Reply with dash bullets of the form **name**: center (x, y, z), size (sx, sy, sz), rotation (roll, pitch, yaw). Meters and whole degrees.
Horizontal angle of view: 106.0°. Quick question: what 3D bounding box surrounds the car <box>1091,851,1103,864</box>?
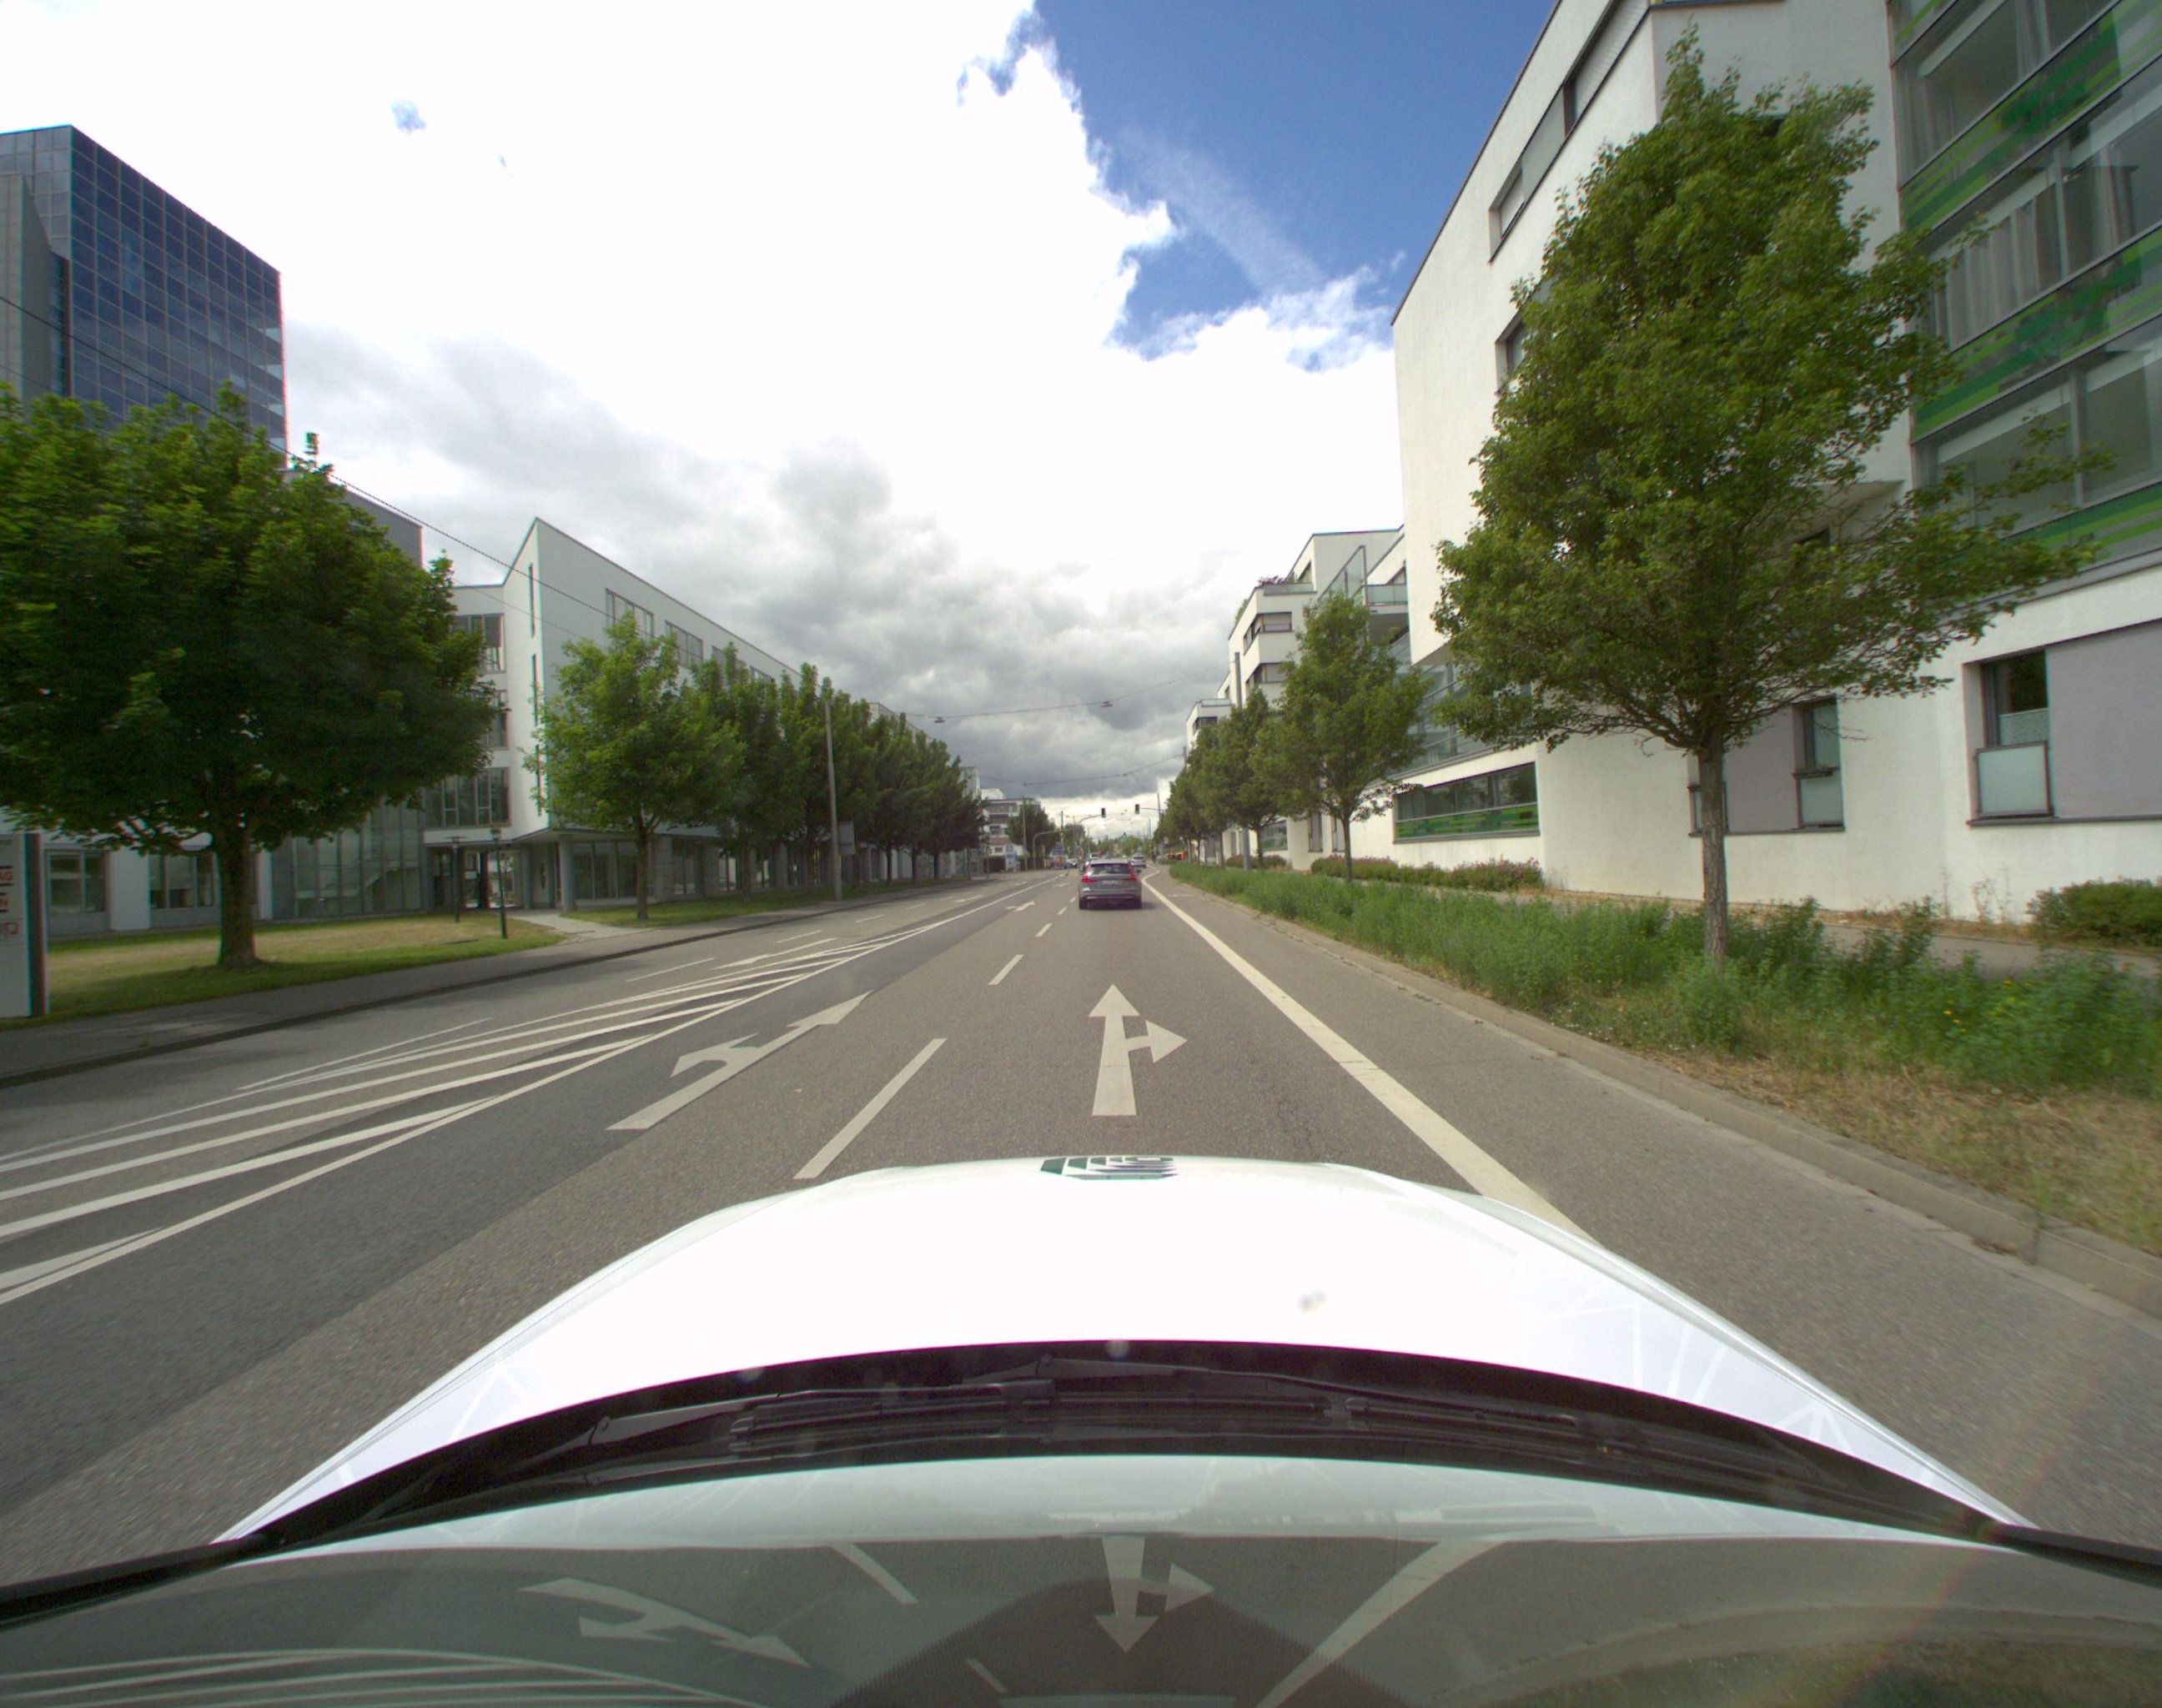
- **car**: center (3.477, 0.781, 176.643), size (2.133, 2.471, 6.080), rotation (-4, -1, 4)

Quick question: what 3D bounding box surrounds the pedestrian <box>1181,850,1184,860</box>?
- **pedestrian**: center (18.352, 0.242, 146.901), size (0.503, 1.765, 0.503), rotation (-1, -1, 20)

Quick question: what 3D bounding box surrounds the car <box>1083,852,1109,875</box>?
- **car**: center (1.173, 0.765, 62.838), size (1.986, 1.717, 4.001), rotation (-1, -1, 1)

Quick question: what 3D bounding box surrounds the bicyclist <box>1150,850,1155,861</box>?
- **bicyclist**: center (11.416, 0.282, 130.230), size (0.635, 1.675, 0.891), rotation (-6, -1, 4)

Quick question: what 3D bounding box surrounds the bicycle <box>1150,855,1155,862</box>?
- **bicycle**: center (11.454, 0.727, 130.023), size (0.635, 1.063, 1.979), rotation (-6, 0, 4)

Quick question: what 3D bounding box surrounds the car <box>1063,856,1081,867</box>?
- **car**: center (-1.319, 1.150, 121.430), size (2.015, 1.445, 5.055), rotation (-4, -1, 4)

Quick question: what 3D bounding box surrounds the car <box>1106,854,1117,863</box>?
- **car**: center (6.113, 0.927, 161.926), size (1.876, 1.552, 4.547), rotation (-4, -1, 6)

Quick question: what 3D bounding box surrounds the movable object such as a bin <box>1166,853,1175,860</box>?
- **movable object such as a bin**: center (16.391, 0.446, 148.689), size (1.308, 1.361, 1.257), rotation (-3, -2, 20)

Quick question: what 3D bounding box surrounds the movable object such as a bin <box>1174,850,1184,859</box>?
- **movable object such as a bin**: center (17.921, 0.069, 148.823), size (1.306, 1.435, 1.259), rotation (-4, -2, 40)

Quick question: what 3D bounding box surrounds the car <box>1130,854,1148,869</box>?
- **car**: center (6.833, 0.932, 96.335), size (1.985, 1.695, 4.003), rotation (-1, -1, 3)

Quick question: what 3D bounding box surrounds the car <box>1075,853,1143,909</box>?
- **car**: center (0.941, 0.790, 25.041), size (1.887, 1.554, 4.004), rotation (-1, -1, 4)

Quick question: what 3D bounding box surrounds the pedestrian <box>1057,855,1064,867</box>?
- **pedestrian**: center (-3.212, 1.115, 129.785), size (0.815, 2.014, 0.717), rotation (1, -2, -44)
